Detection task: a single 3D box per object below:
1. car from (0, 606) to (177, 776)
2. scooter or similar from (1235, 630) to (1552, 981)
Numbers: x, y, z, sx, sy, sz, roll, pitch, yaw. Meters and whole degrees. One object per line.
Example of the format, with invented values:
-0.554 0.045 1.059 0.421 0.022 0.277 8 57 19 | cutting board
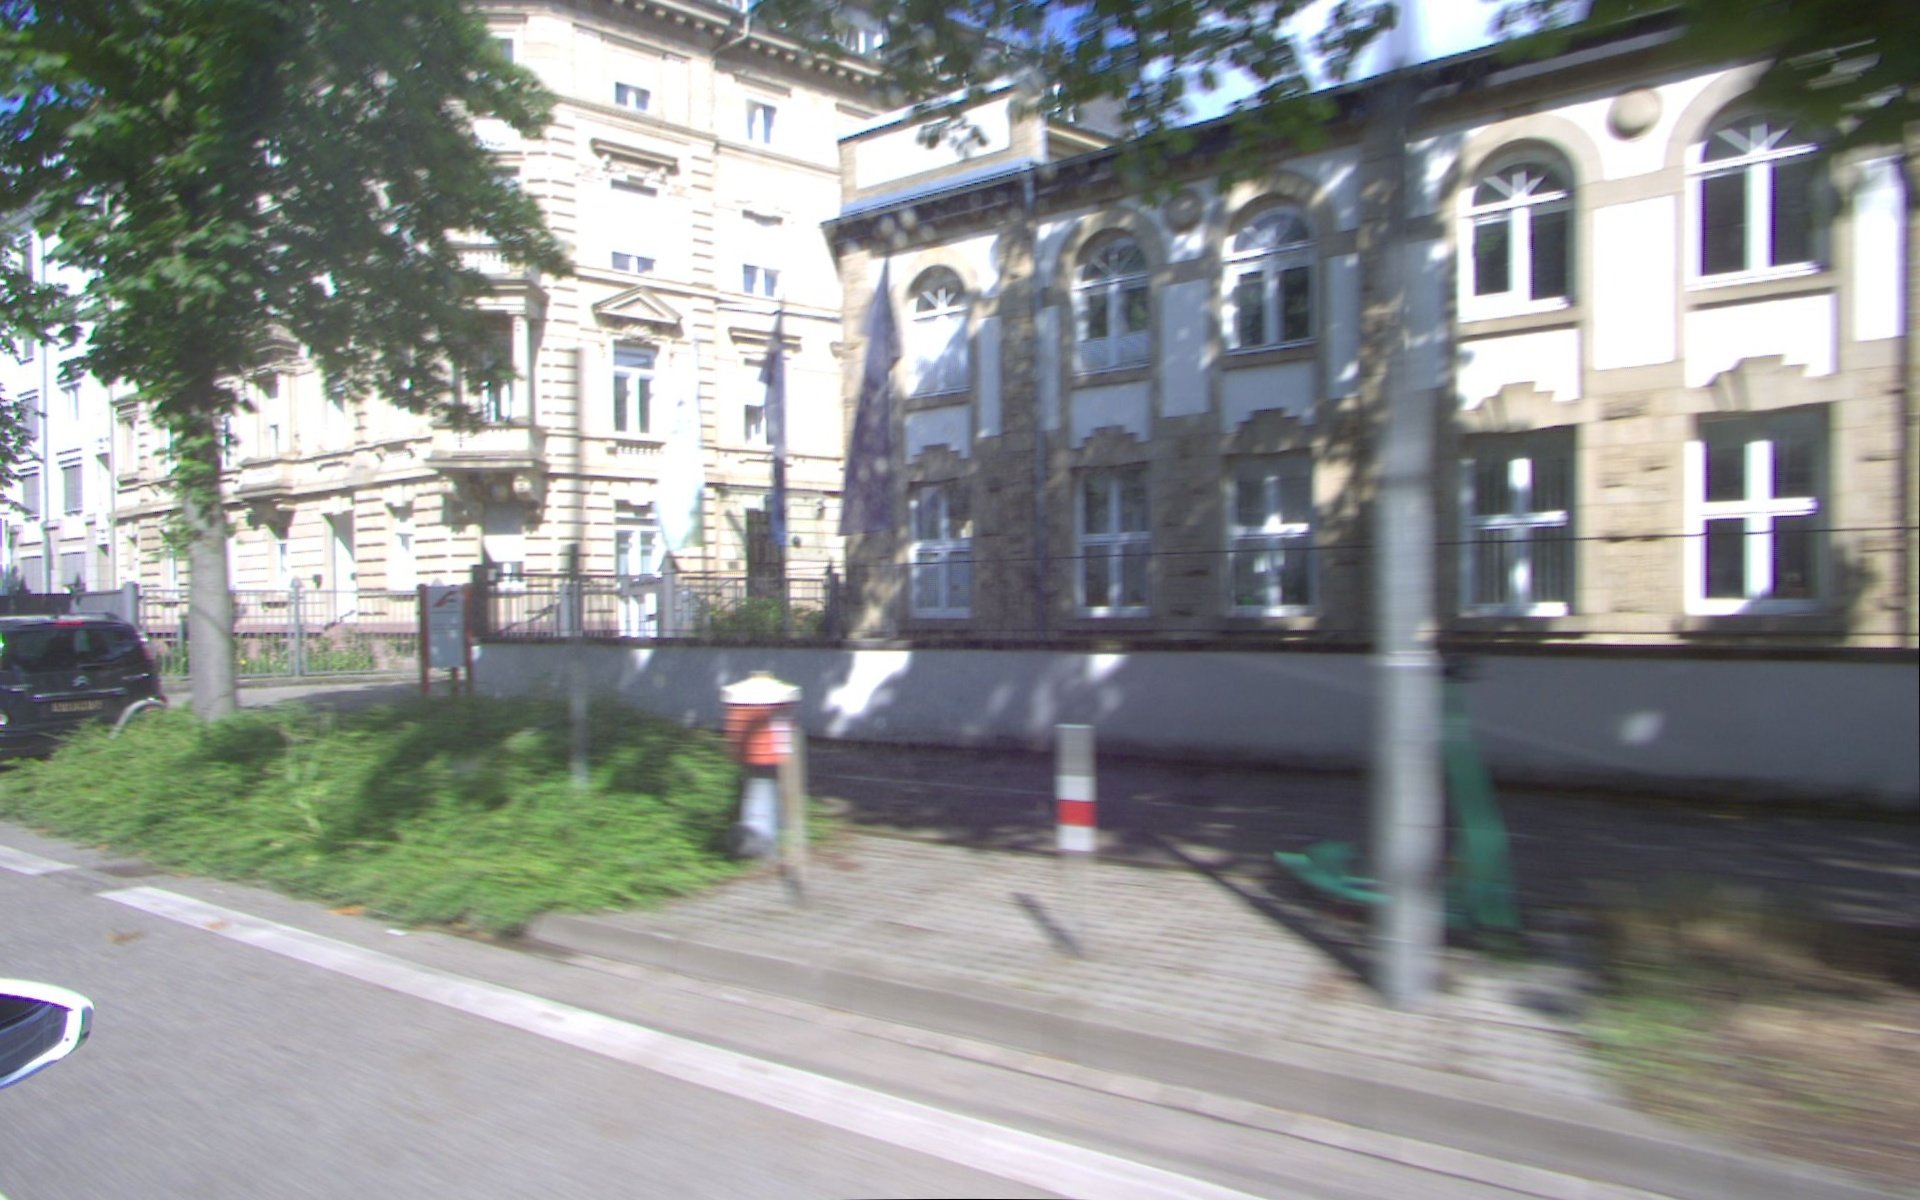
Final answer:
-10.789 0.926 11.208 4.140 1.612 1.694 -1 1 30 | car
1.807 0.785 4.318 0.338 1.255 1.250 -4 3 -35 | scooter or similar
